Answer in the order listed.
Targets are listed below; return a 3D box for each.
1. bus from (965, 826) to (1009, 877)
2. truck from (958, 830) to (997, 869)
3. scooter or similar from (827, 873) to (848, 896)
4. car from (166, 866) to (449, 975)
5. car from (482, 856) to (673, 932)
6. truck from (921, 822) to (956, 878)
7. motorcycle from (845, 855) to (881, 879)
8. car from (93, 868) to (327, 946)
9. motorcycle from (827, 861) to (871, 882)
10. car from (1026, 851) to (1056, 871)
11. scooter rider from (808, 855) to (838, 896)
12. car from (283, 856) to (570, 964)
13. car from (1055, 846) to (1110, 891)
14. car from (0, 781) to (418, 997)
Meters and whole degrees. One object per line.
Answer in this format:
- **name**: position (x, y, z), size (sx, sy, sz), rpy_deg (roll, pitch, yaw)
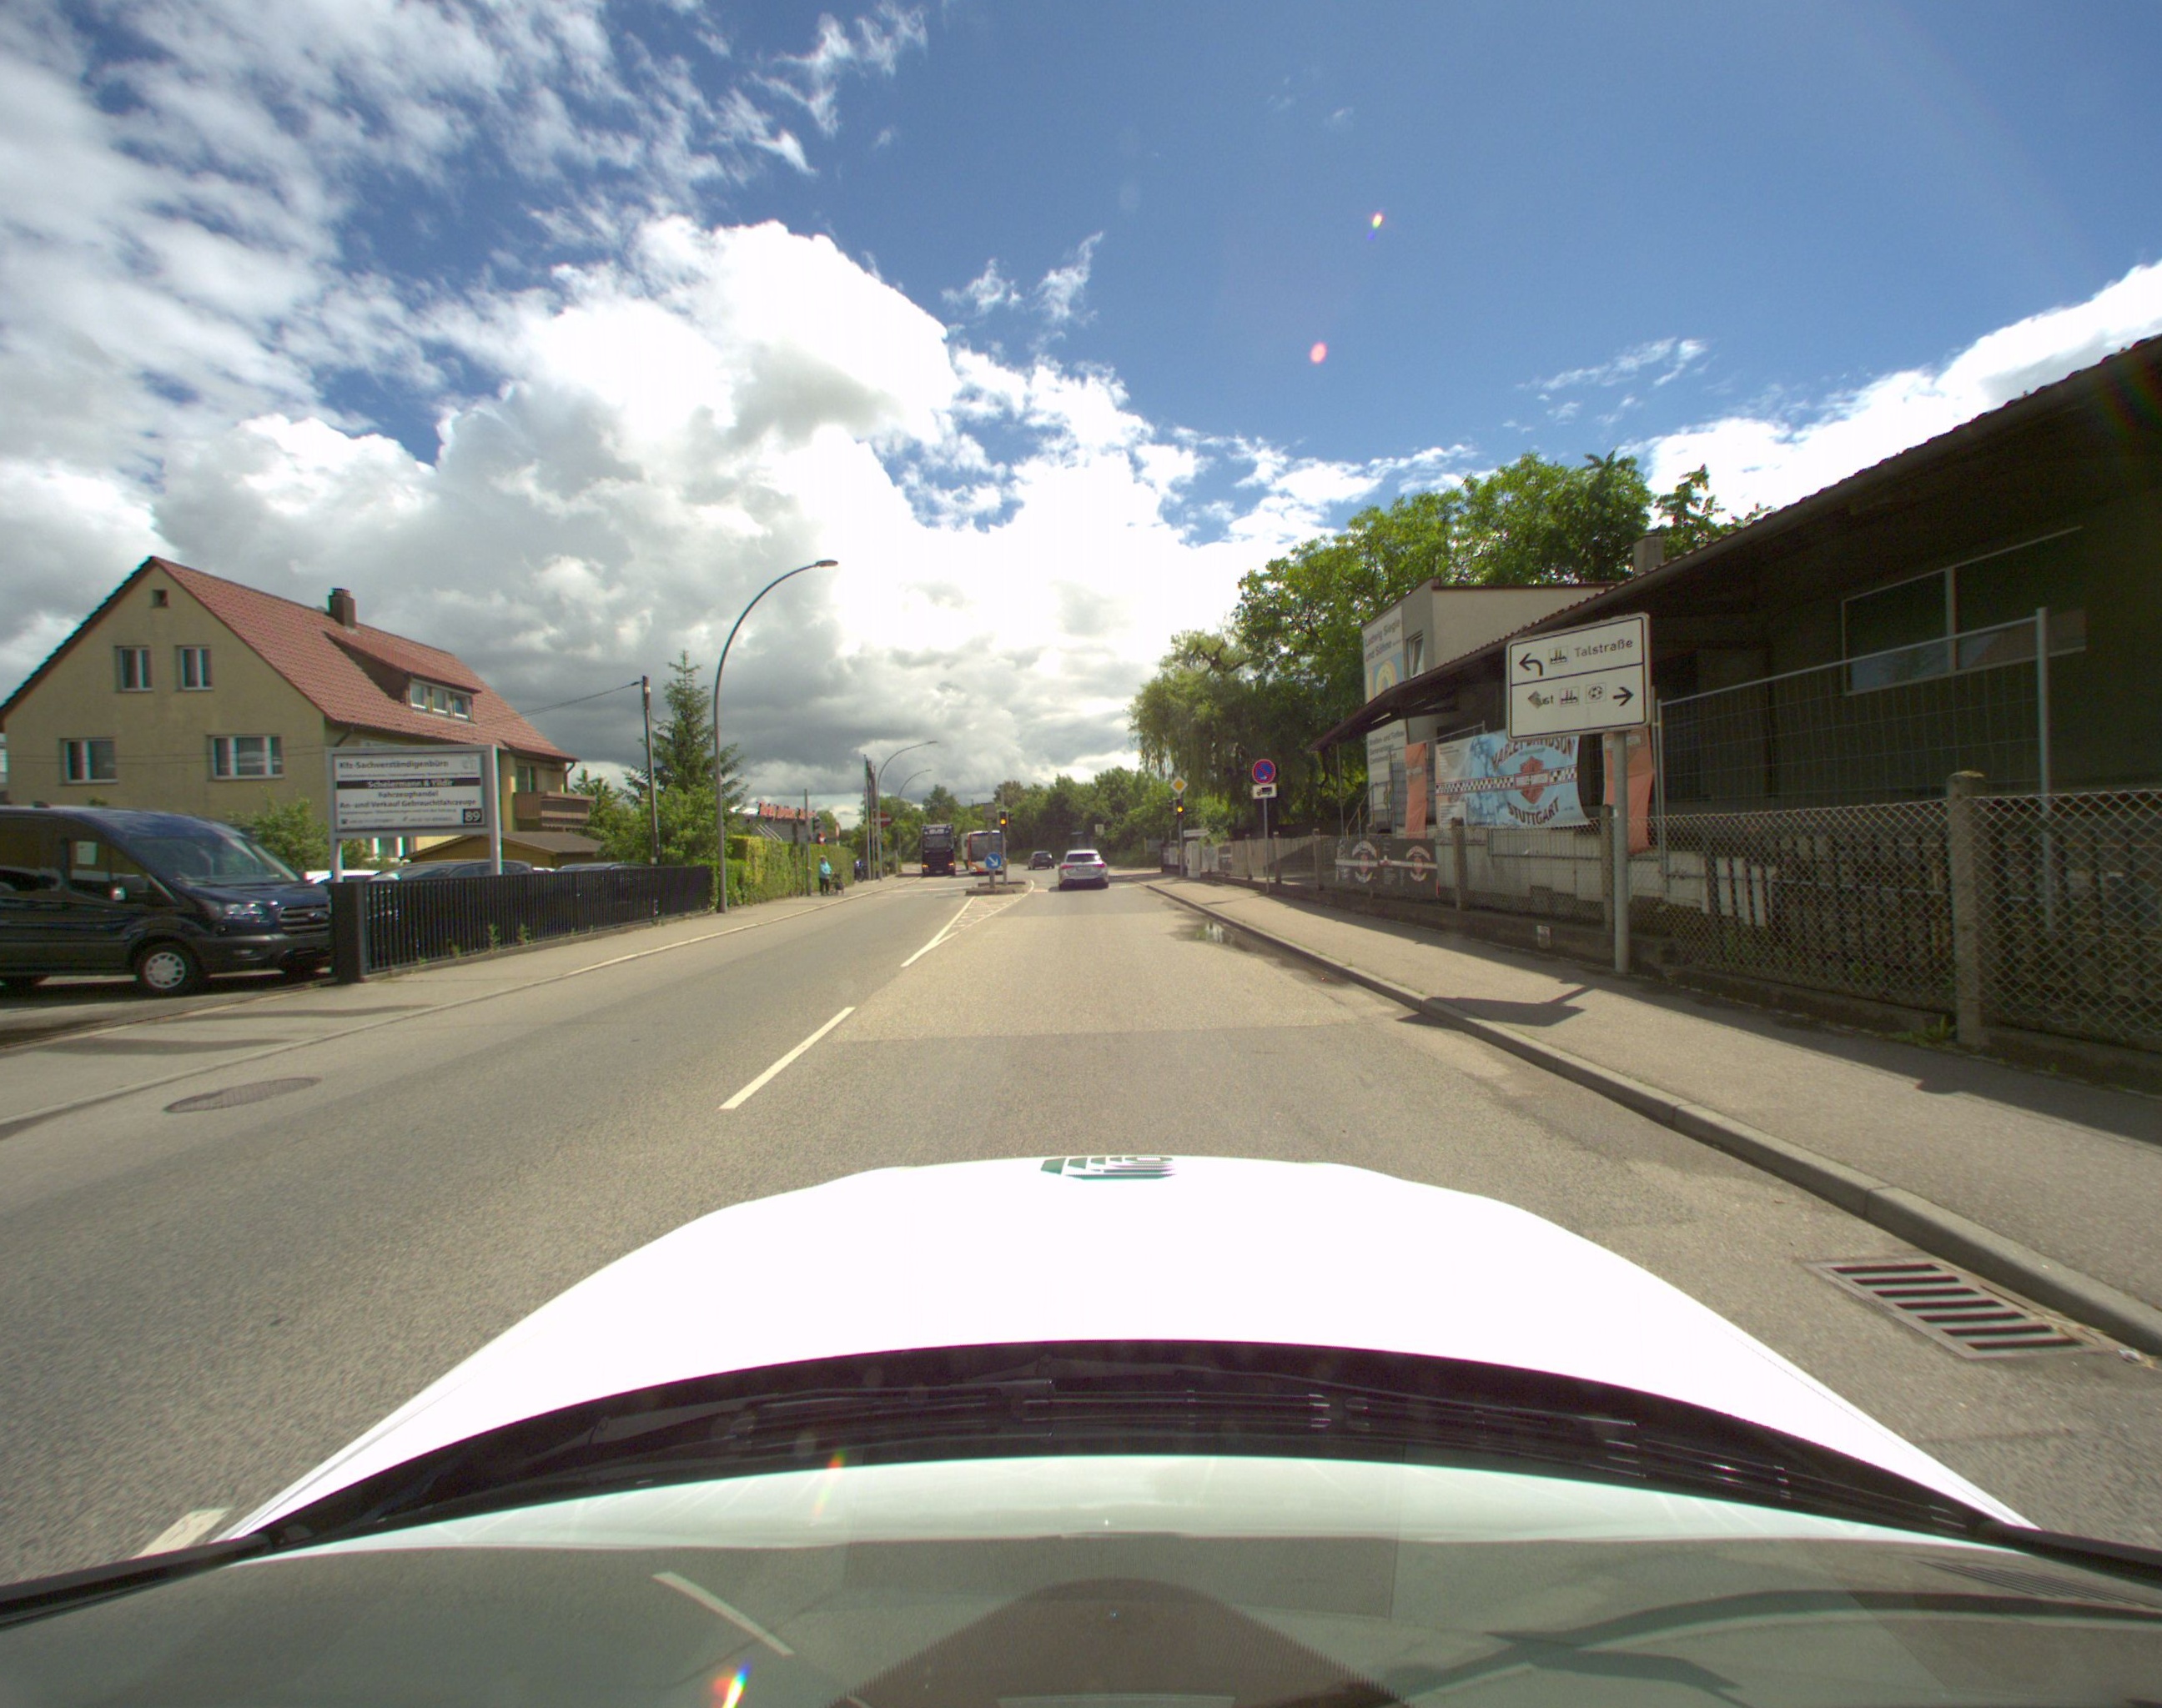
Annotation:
- **bus**: position (-6.850, -0.188, 60.443), size (2.774, 3.266, 12.099), rpy_deg (-3, 0, -6)
- **truck**: position (-10.389, -0.380, 81.104), size (2.842, 3.540, 9.682), rpy_deg (-3, 0, -13)
- **scooter or similar**: position (-9.650, 1.205, 32.249), size (0.610, 0.831, 0.659), rpy_deg (-3, 0, -2)
- **car**: position (-14.270, 1.119, 15.407), size (1.774, 1.618, 3.990), rpy_deg (-3, 0, -7)
- **car**: position (-11.914, 0.860, 19.709), size (2.150, 1.506, 4.260), rpy_deg (-3, 0, -5)
- **truck**: position (-11.252, -0.260, 64.883), size (2.427, 4.131, 9.125), rpy_deg (0, 0, -8)
- **motorcycle**: position (-15.719, 0.942, 58.796), size (2.283, 1.683, 1.047), rpy_deg (-1, -1, 20)
- **car**: position (-21.469, 1.227, 20.361), size (1.774, 1.618, 3.990), rpy_deg (-3, 0, -7)
- **motorcycle**: position (-14.302, 1.063, 50.194), size (2.478, 1.218, 0.931), rpy_deg (-1, -1, 20)
- **car**: position (-3.247, 0.519, 65.347), size (1.885, 1.508, 3.986), rpy_deg (-2, 0, -10)
- **scooter rider**: position (-10.255, 0.847, 32.369), size (0.876, 1.589, 0.795), rpy_deg (-3, 0, -2)
- **car**: position (-11.758, 0.898, 15.123), size (2.028, 1.595, 4.277), rpy_deg (-3, 0, -5)
- **car**: position (-0.010, 0.502, 30.520), size (1.880, 1.508, 3.997), rpy_deg (-2, 0, -2)
- **car**: position (-13.182, 0.481, 11.098), size (6.022, 2.496, 2.475), rpy_deg (-3, 0, -2)
